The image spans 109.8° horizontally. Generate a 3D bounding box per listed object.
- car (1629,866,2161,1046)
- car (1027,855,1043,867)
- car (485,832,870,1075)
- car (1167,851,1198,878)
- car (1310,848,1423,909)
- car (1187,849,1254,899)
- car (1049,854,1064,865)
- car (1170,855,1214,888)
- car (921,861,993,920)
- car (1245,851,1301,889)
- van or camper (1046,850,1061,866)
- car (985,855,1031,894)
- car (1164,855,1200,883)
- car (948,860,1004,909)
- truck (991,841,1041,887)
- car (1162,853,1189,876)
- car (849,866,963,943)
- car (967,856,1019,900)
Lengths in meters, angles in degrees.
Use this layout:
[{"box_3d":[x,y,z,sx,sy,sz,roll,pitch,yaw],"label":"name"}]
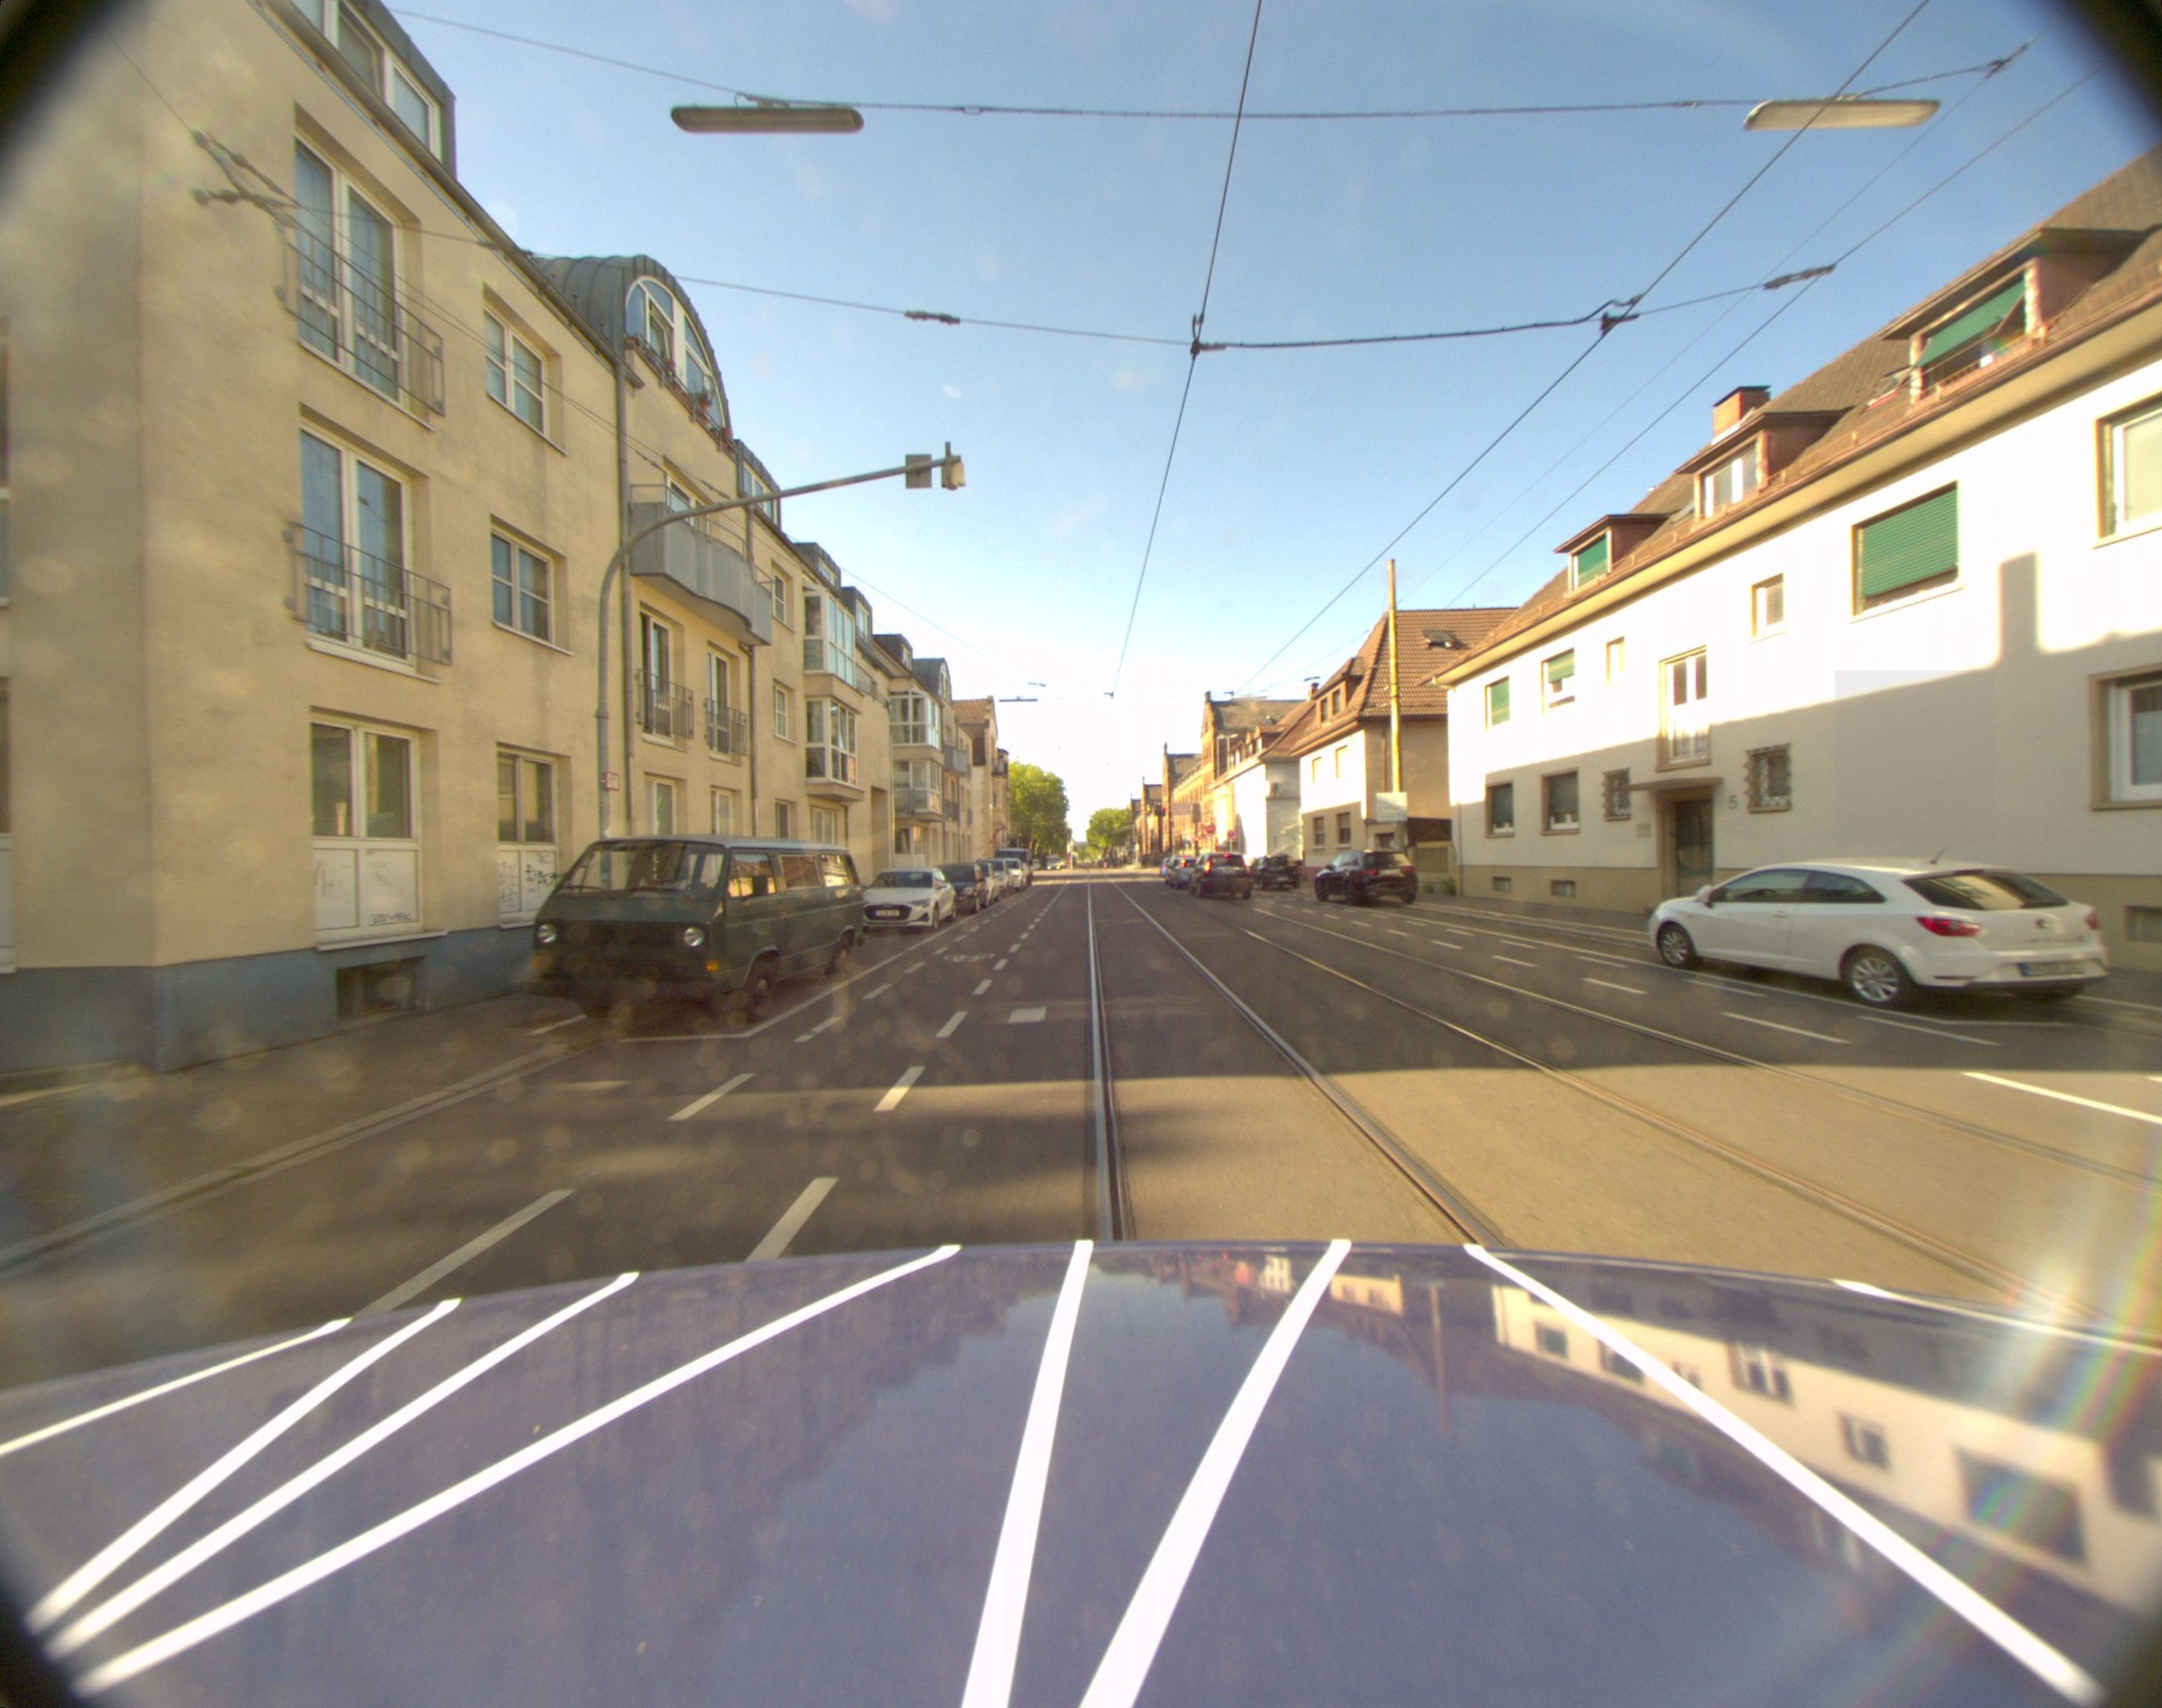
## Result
[{"box_3d":[8.350,0.896,8.447,1.635,1.449,4.015,0,0,1],"label":"car"},{"box_3d":[-6.583,0.997,109.015,1.911,1.608,4.572,-2,-1,0],"label":"car"},{"box_3d":[-4.059,0.851,8.742,1.910,1.975,4.562,-3,0,0],"label":"car"},{"box_3d":[6.462,0.639,48.690,1.742,1.601,4.716,0,0,5],"label":"car"},{"box_3d":[8.655,0.669,23.465,1.766,1.695,4.555,0,0,0],"label":"car"},{"box_3d":[5.048,0.680,28.012,1.708,1.695,4.364,0,0,1],"label":"car"},{"box_3d":[-3.560,0.844,110.668,1.984,1.539,4.035,-1,-1,1],"label":"car"},{"box_3d":[5.192,0.781,35.942,1.621,1.452,4.075,0,0,2],"label":"car"},{"box_3d":[-3.717,1.046,23.347,1.558,1.548,3.652,-3,0,0],"label":"car"},{"box_3d":[8.813,0.695,35.146,1.619,1.618,3.921,0,0,0],"label":"car"},{"box_3d":[-4.360,0.662,120.523,1.998,2.346,5.600,-1,-1,0],"label":"van or camper"},{"box_3d":[-3.578,0.981,38.017,1.743,1.736,4.255,-3,0,1],"label":"car"},{"box_3d":[5.447,0.765,41.226,1.586,1.452,3.613,0,0,2],"label":"car"},{"box_3d":[-3.726,1.050,27.390,1.500,1.548,3.364,-3,0,0],"label":"car"},{"box_3d":[-3.701,0.554,44.447,2.301,2.463,6.146,-1,0,1],"label":"truck"},{"box_3d":[6.764,0.726,54.841,1.687,1.558,3.929,1,0,4],"label":"car"},{"box_3d":[-4.015,1.100,18.105,1.681,1.482,4.172,-3,0,0],"label":"car"},{"box_3d":[-3.700,0.968,32.502,1.606,1.690,3.989,-3,0,1],"label":"car"}]
